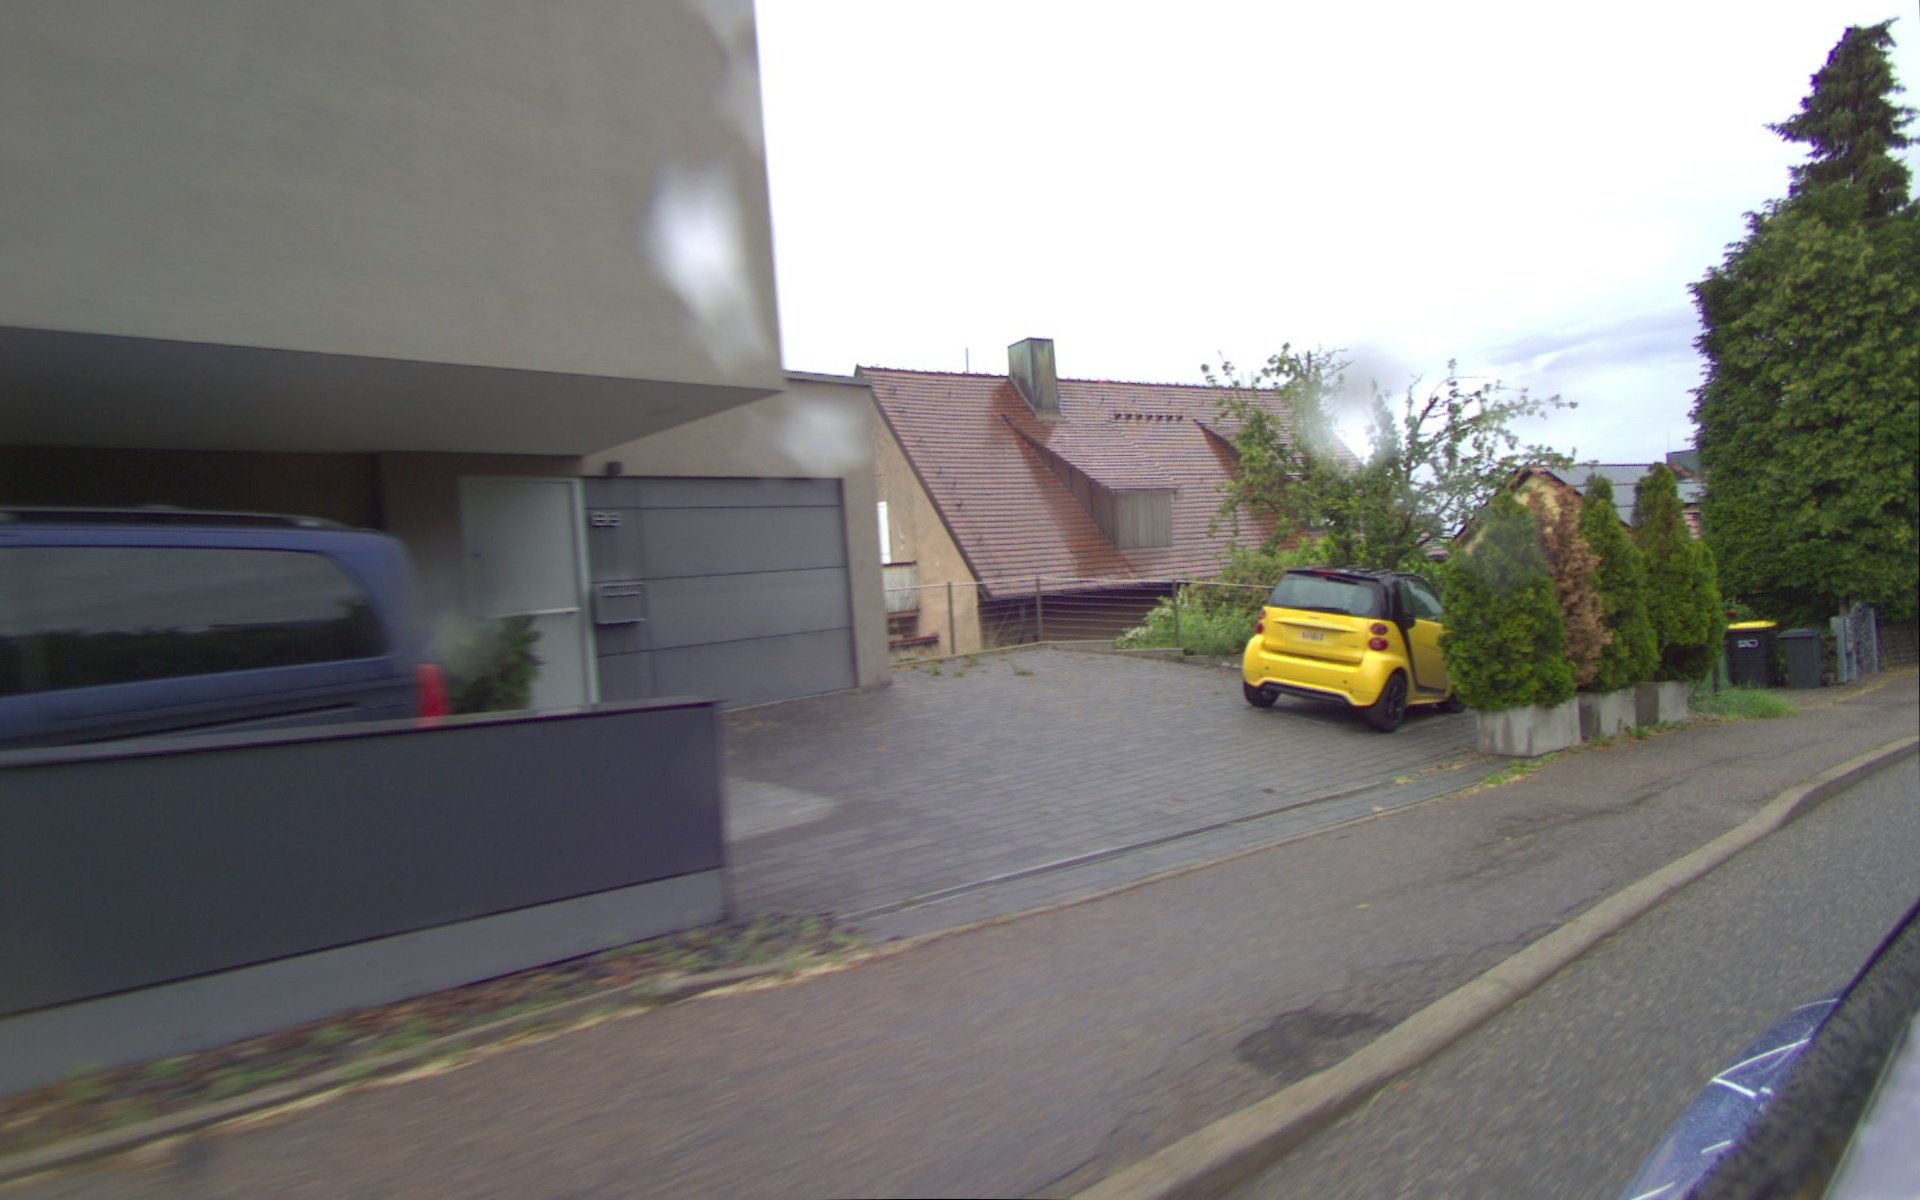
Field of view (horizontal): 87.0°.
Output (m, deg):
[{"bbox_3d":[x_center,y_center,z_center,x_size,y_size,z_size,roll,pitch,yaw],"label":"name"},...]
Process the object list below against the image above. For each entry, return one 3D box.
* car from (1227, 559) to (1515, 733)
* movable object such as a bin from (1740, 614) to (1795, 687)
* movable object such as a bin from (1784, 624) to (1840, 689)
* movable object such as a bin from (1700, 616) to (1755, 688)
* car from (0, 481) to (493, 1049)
[{"bbox_3d":[4.593,0.363,11.124,3.371,1.511,1.630,-2,7,-44],"label":"car"},{"bbox_3d":[13.082,0.814,16.396,0.583,1.132,0.505,0,-3,-38],"label":"movable object such as a bin"},{"bbox_3d":[13.430,0.885,15.949,0.583,0.982,0.505,0,-3,-38],"label":"movable object such as a bin"},{"bbox_3d":[12.789,0.863,16.867,0.583,1.153,0.523,0,-3,-38],"label":"movable object such as a bin"},{"bbox_3d":[-4.552,0.615,3.731,4.695,1.964,1.996,-5,3,-43],"label":"car"}]
